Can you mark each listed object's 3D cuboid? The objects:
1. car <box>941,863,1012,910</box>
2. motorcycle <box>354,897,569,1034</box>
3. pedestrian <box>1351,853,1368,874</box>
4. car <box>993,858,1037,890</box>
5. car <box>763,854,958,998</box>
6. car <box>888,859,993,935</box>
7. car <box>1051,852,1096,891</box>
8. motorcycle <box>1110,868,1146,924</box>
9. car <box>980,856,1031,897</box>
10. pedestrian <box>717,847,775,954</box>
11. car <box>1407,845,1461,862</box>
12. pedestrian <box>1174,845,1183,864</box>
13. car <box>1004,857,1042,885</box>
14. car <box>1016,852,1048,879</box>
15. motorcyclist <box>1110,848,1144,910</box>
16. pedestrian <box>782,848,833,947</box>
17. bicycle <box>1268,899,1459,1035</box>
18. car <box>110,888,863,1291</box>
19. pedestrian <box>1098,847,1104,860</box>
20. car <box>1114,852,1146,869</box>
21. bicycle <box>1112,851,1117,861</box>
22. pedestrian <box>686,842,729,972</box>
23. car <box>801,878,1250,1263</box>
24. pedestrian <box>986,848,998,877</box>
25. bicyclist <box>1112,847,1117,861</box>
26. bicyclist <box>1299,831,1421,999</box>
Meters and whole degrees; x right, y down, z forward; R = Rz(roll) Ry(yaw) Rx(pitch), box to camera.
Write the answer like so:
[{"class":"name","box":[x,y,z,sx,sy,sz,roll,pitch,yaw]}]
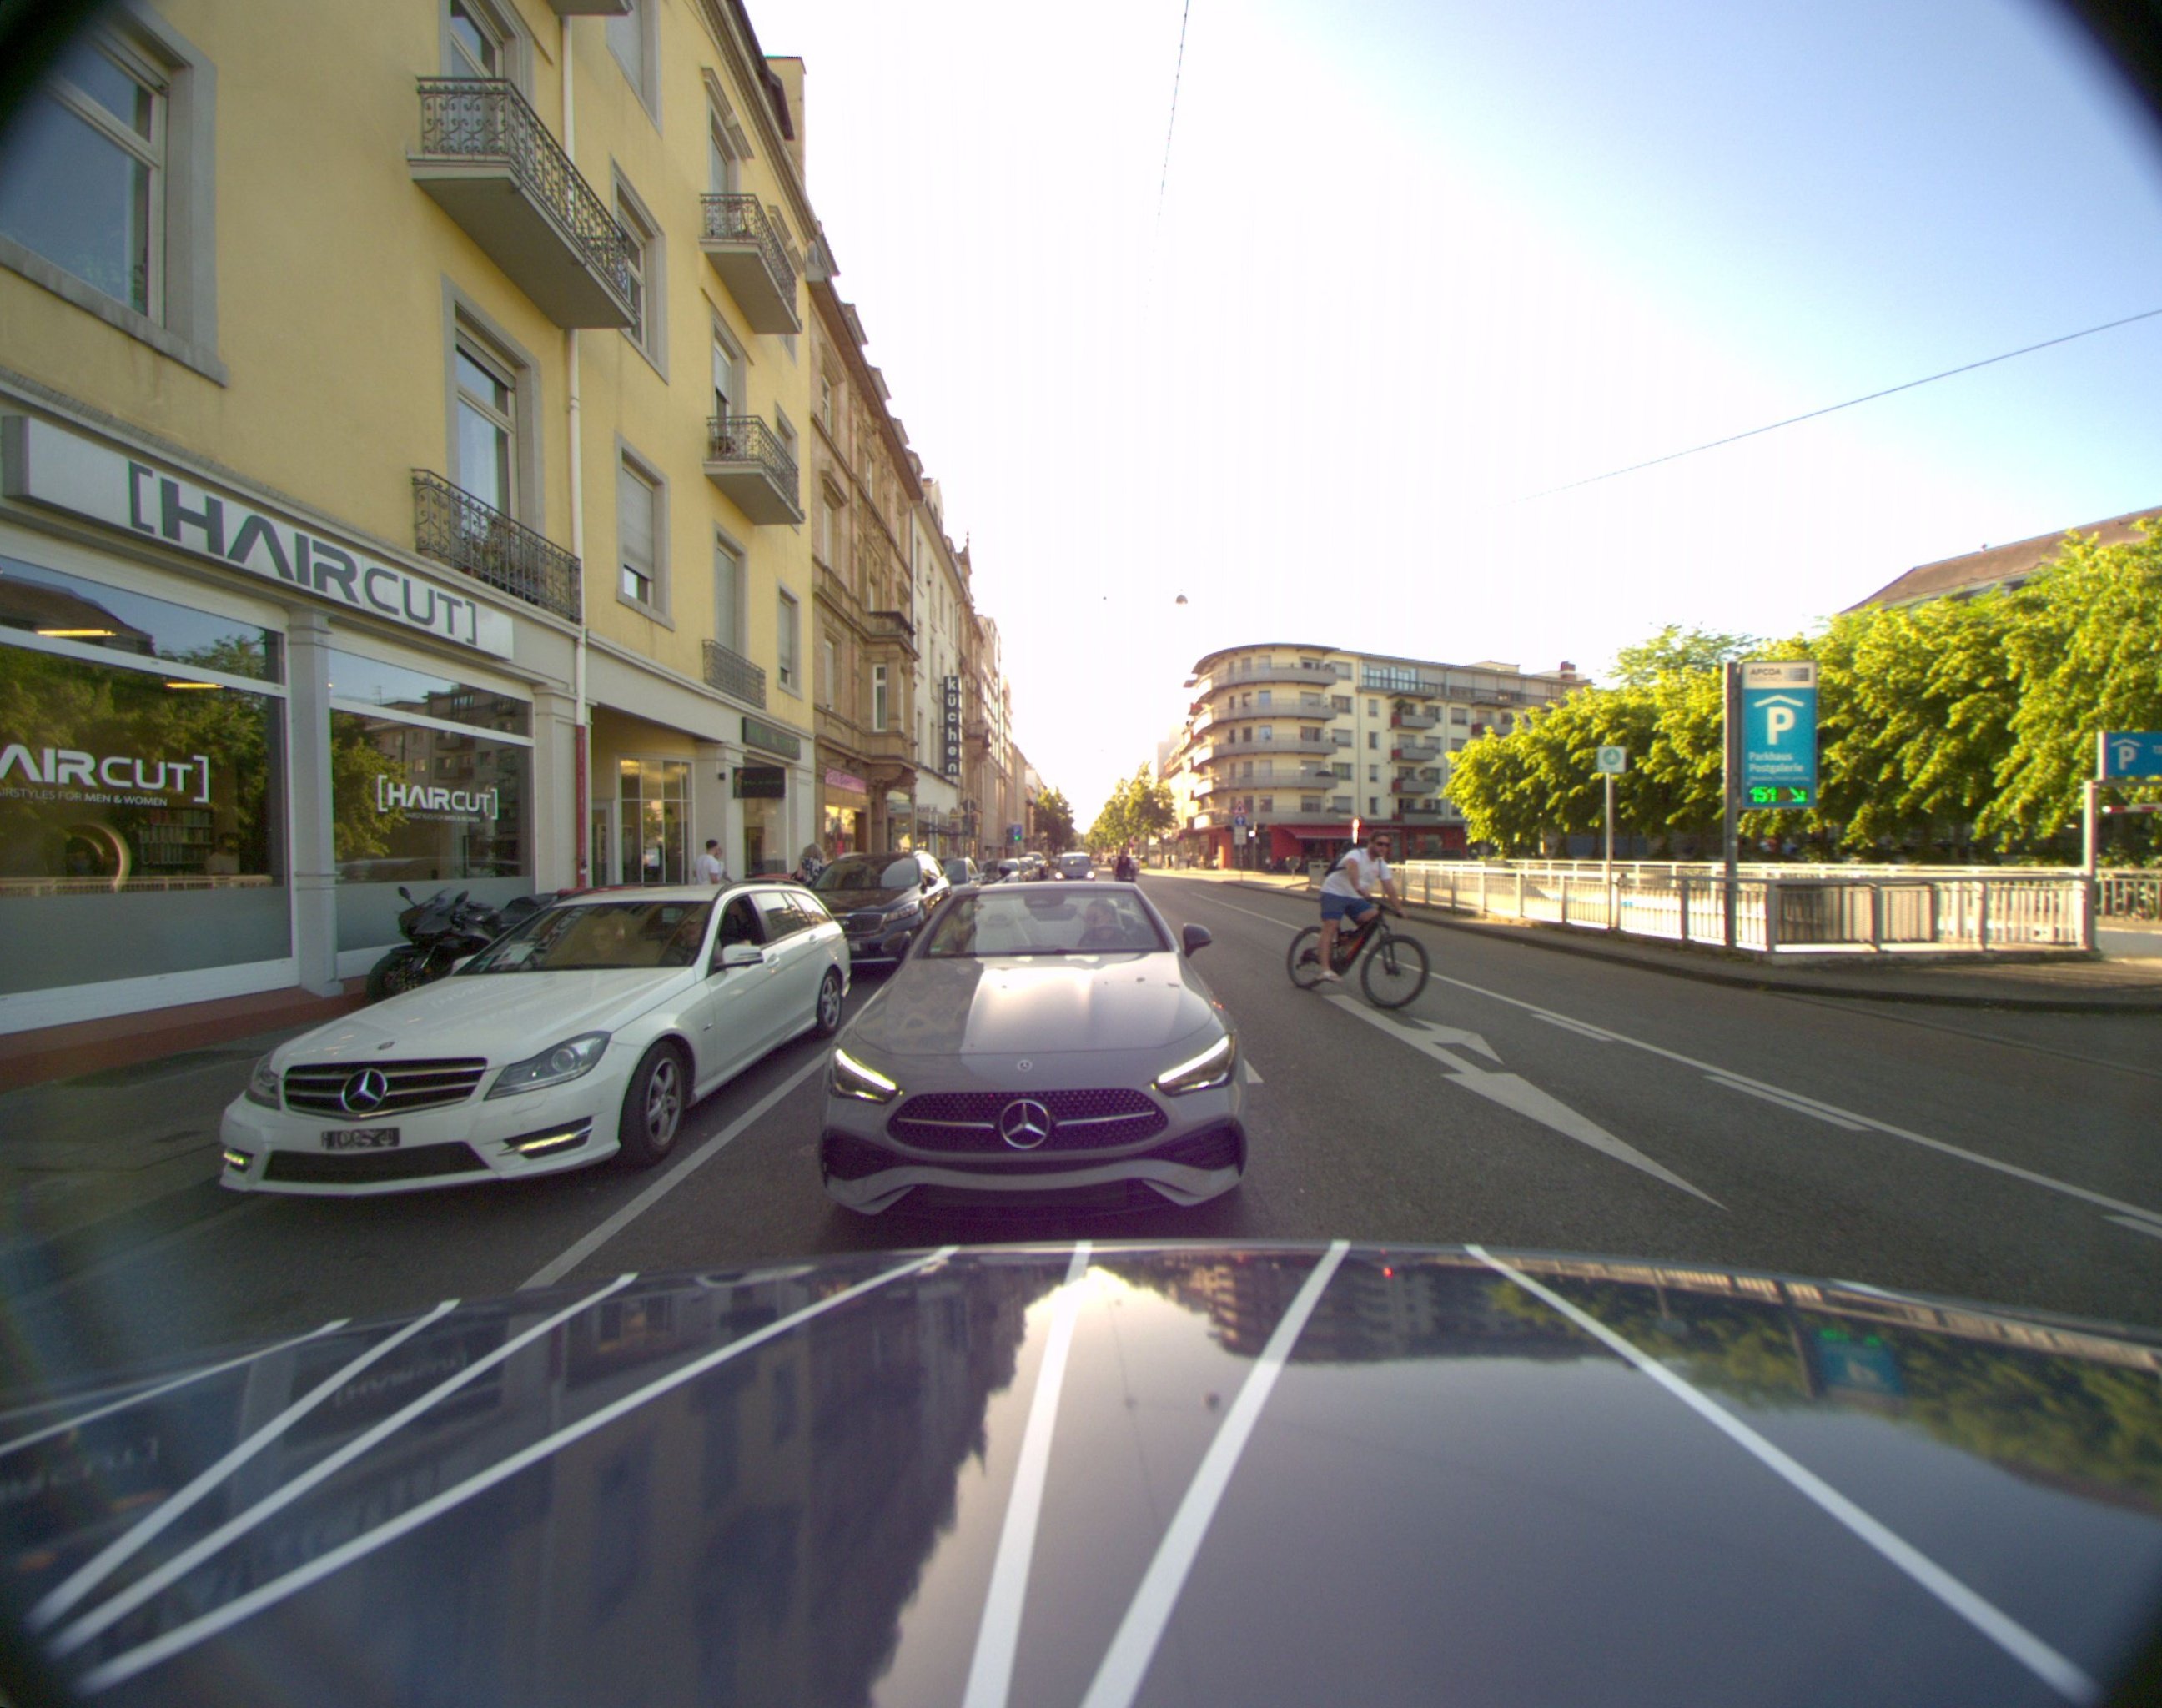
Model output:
[{"class":"car","box":[-3.386,1.022,25.258,1.802,1.259,4.085,-2,1,-1]},{"class":"motorcycle","box":[-6.169,1.046,7.733,0.567,1.072,1.954,2,1,1]},{"class":"pedestrian","box":[21.690,0.762,59.110,0.863,1.586,0.887,-3,1,-38]},{"class":"car","box":[-3.152,0.913,36.825,1.802,1.332,3.838,-2,1,-1]},{"class":"car","box":[-2.990,0.866,11.278,1.803,1.629,4.243,-2,1,-3]},{"class":"car","box":[-3.293,0.945,18.615,1.802,1.518,4.085,-2,1,-1]},{"class":"car","box":[-0.277,0.750,34.236,1.856,1.543,3.999,-2,1,1]},{"class":"motorcycle","box":[1.113,0.978,18.311,0.720,1.177,1.906,-2,1,1]},{"class":"car","box":[-2.996,0.862,30.729,1.660,1.423,4.085,-2,1,-1]},{"class":"pedestrian","box":[-5.912,0.800,13.427,0.664,1.840,0.575,-2,1,2]},{"class":"car","box":[28.993,-0.051,62.360,4.004,1.294,1.753,-2,1,-23]},{"class":"pedestrian","box":[10.414,0.032,81.120,0.860,2.002,0.889,-2,1,0]},{"class":"car","box":[-3.091,0.866,41.067,1.725,1.332,3.668,-2,1,-1]},{"class":"car","box":[-3.039,0.701,47.406,1.725,1.506,4.004,-2,1,-1]},{"class":"motorcyclist","box":[1.101,0.600,18.309,0.722,1.438,0.705,-2,1,1]},{"class":"pedestrian","box":[-4.729,0.730,13.131,0.720,1.644,0.604,-2,1,-26]},{"class":"bicycle","box":[2.807,1.070,7.828,0.642,1.078,2.058,-2,0,-20]},{"class":"car","box":[-3.061,1.068,5.300,1.704,1.351,4.378,-2,1,1]},{"class":"pedestrian","box":[3.146,-0.123,120.192,0.860,2.002,0.889,-2,1,1]},{"class":"car","box":[4.122,0.552,64.735,1.825,1.346,4.260,1,1,-8]},{"class":"bicycle","box":[3.981,0.271,89.480,0.527,1.163,1.593,-2,1,4]},{"class":"pedestrian","box":[-5.862,0.807,11.922,0.375,1.971,0.692,-2,1,-43]},{"class":"car","box":[-0.263,0.957,5.139,1.802,1.351,3.999,-2,1,-1]},{"class":"pedestrian","box":[-5.667,0.518,48.535,0.574,1.840,0.665,-2,1,1]},{"class":"bicyclist","box":[3.967,-0.012,89.478,0.524,1.539,0.798,-2,1,3]},{"class":"bicyclist","box":[2.892,0.593,7.907,0.887,1.625,0.767,-2,1,-20]}]
